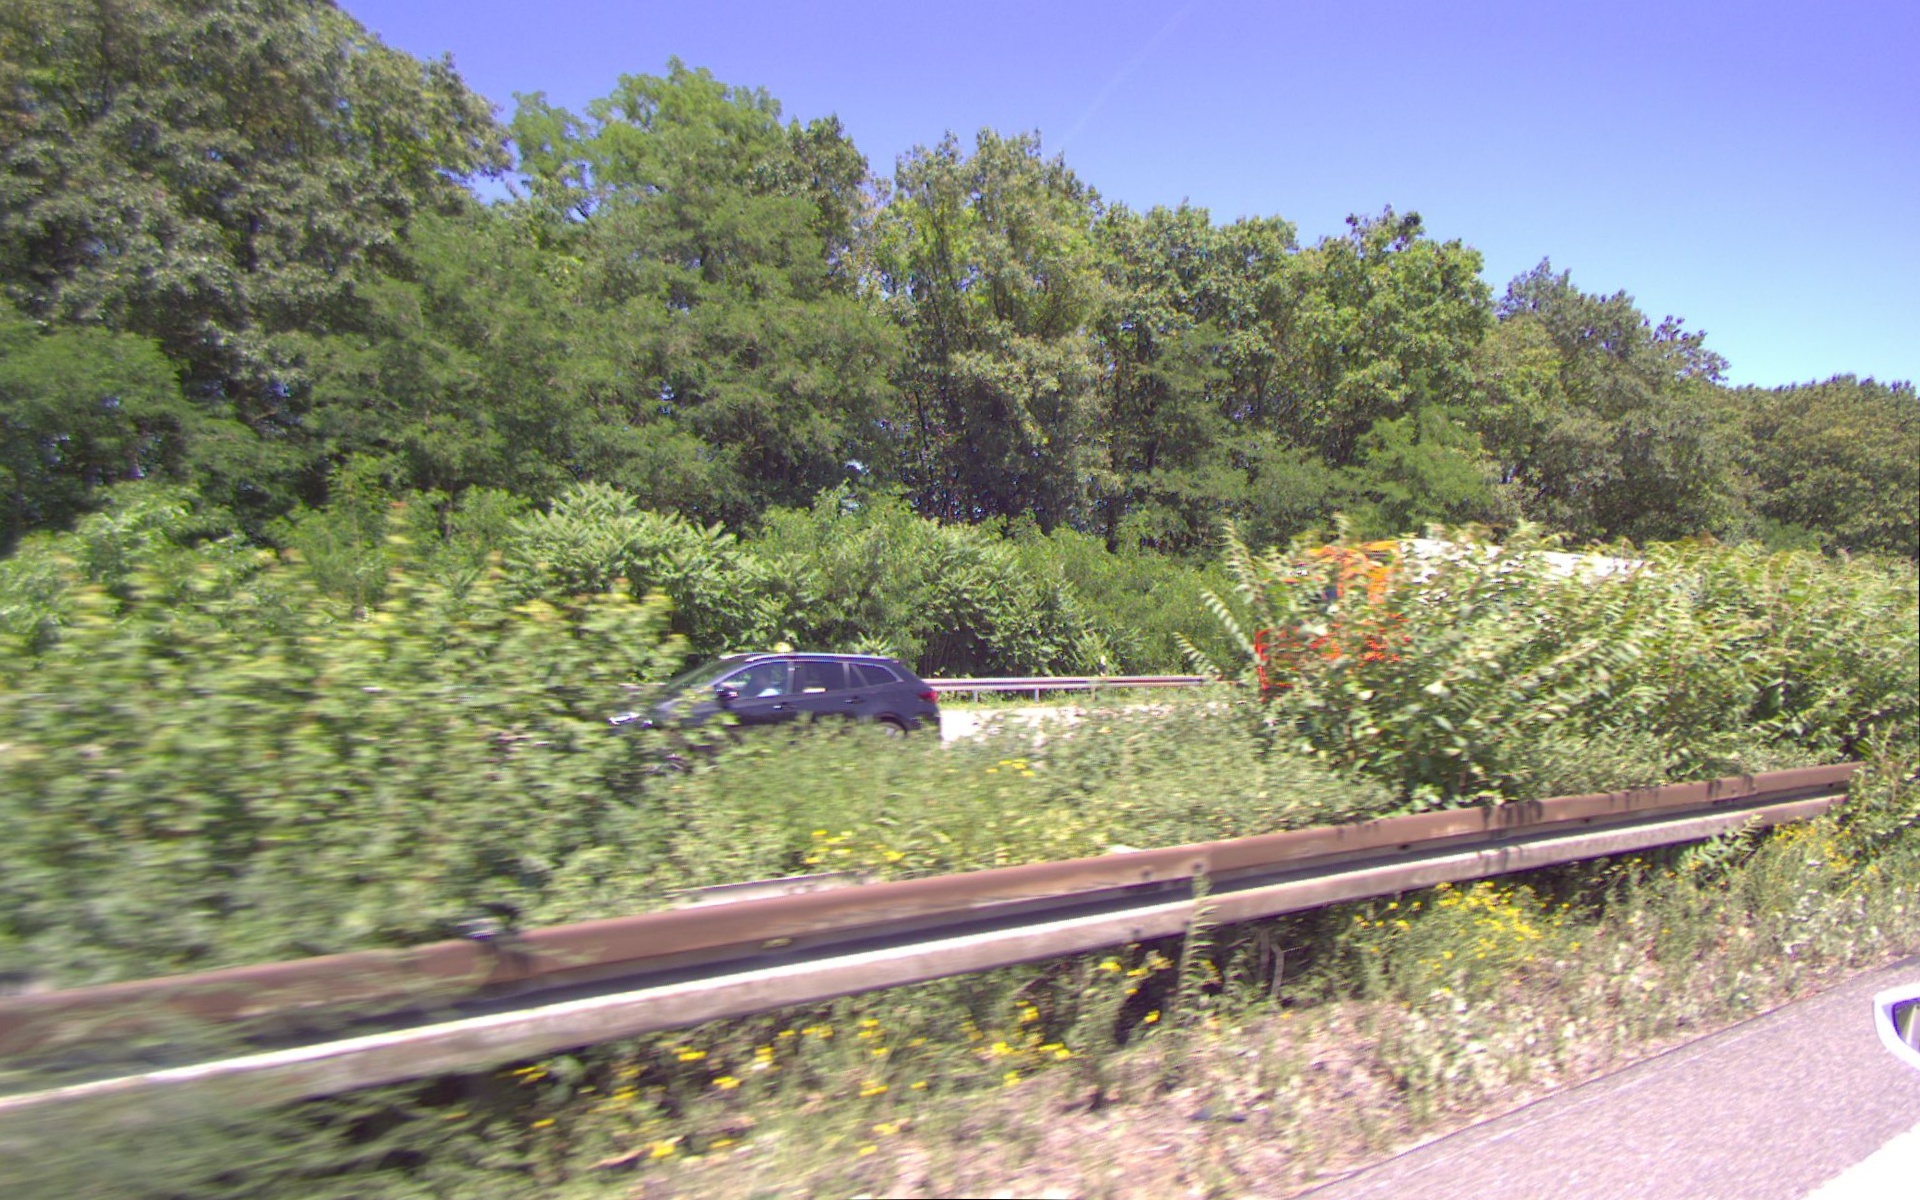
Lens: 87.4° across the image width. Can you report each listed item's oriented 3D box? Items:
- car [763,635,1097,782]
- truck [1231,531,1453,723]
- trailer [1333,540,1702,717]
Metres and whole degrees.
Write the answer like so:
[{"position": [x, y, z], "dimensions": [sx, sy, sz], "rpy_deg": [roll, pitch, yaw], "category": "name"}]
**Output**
[{"position": [-0.371, 1.325, 13.476], "dimensions": [4.039, 1.651, 1.984], "rpy_deg": [1, -1, -30], "category": "car"}, {"position": [9.014, 0.627, 23.751], "dimensions": [4.245, 4.103, 2.906], "rpy_deg": [1, -1, -31], "category": "truck"}, {"position": [15.780, 0.803, 27.769], "dimensions": [12.765, 4.103, 2.906], "rpy_deg": [1, -1, -31], "category": "trailer"}]
